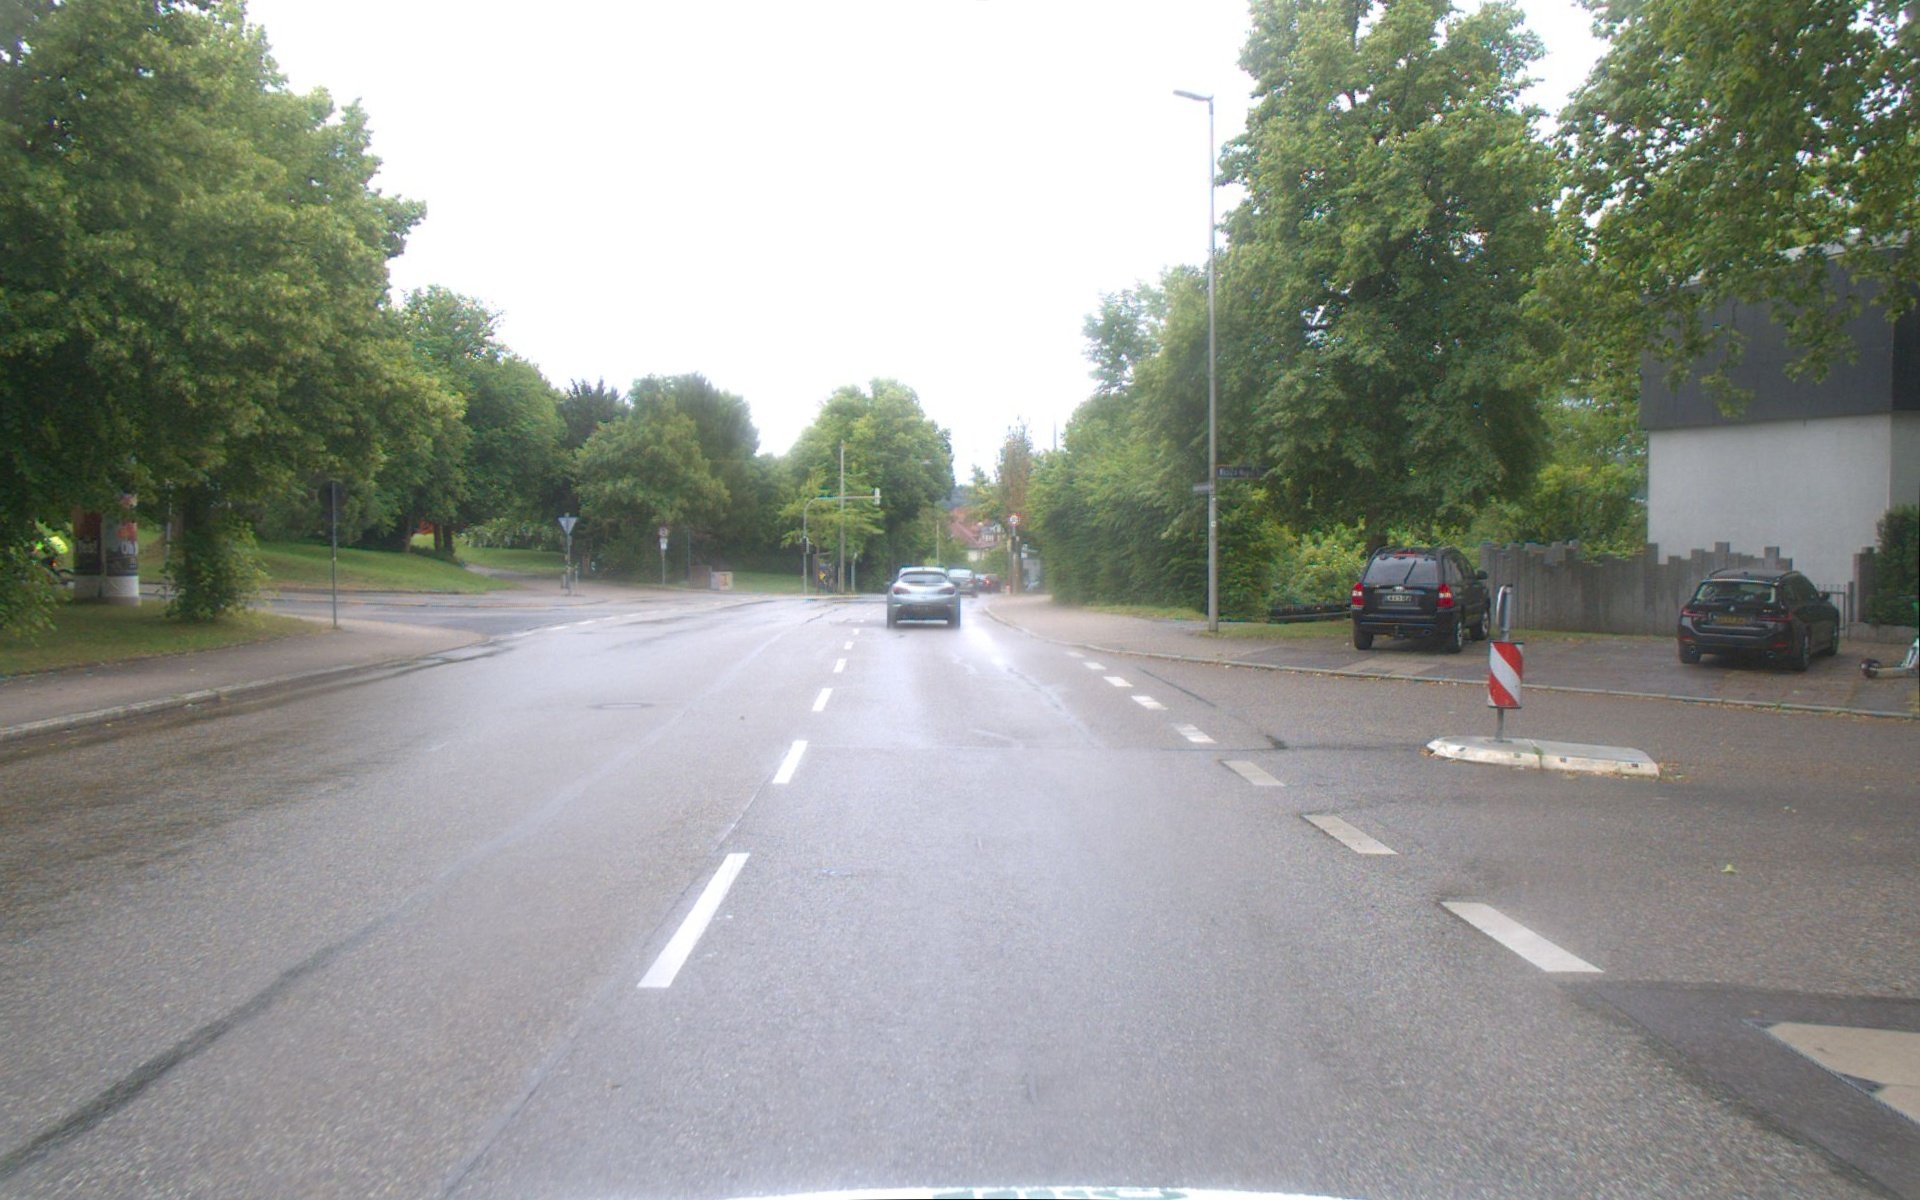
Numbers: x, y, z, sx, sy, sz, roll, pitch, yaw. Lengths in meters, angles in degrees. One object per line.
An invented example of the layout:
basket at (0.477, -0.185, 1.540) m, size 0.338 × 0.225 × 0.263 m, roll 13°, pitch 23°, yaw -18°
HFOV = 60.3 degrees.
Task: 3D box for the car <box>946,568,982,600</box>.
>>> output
car at (0.241, -0.800, 84.794) m, size 1.686 × 1.489 × 4.001 m, roll 3°, pitch 0°, yaw 1°

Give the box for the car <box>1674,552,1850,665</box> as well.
car at (12.888, 0.061, 26.439) m, size 1.722 × 1.495 × 4.549 m, roll 3°, pitch 4°, yaw 36°

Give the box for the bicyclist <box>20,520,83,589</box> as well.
bicyclist at (-24.000, -1.192, 43.688) m, size 1.255 × 1.786 × 0.854 m, roll -1°, pitch -1°, yaw 21°

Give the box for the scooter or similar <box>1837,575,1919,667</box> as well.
scooter or similar at (13.628, 0.298, 24.187) m, size 1.310 × 1.308 × 0.561 m, roll -1°, pitch 0°, yaw -7°

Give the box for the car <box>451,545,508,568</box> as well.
car at (-34.695, -3.137, 119.338) m, size 3.839 × 1.512 × 1.924 m, roll 1°, pitch 0°, yaw -20°

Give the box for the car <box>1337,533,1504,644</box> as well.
car at (8.252, -0.289, 29.312) m, size 1.910 × 1.718 × 4.899 m, roll 2°, pitch 3°, yaw 27°

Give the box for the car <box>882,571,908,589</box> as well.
car at (-5.054, -1.566, 128.448) m, size 1.626 × 1.329 × 4.085 m, roll -2°, pitch 1°, yaw 3°

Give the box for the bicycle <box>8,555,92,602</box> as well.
bicycle at (-24.031, -0.556, 43.685) m, size 1.989 × 1.175 × 0.854 m, roll -1°, pitch -1°, yaw 21°

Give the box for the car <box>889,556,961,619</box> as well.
car at (-0.848, -0.287, 41.377) m, size 1.718 × 1.490 × 3.999 m, roll 0°, pitch 0°, yaw 0°

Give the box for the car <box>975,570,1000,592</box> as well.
car at (2.014, -1.346, 119.365) m, size 1.686 × 1.489 × 4.001 m, roll 3°, pitch 0°, yaw 1°

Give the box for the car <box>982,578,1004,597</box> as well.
car at (2.667, -1.003, 134.701) m, size 1.686 × 1.489 × 4.001 m, roll 3°, pitch 0°, yaw 1°

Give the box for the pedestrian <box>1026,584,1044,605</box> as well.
pedestrian at (4.990, -0.359, 109.938) m, size 1.050 × 1.379 × 0.919 m, roll -1°, pitch 0°, yaw 10°
